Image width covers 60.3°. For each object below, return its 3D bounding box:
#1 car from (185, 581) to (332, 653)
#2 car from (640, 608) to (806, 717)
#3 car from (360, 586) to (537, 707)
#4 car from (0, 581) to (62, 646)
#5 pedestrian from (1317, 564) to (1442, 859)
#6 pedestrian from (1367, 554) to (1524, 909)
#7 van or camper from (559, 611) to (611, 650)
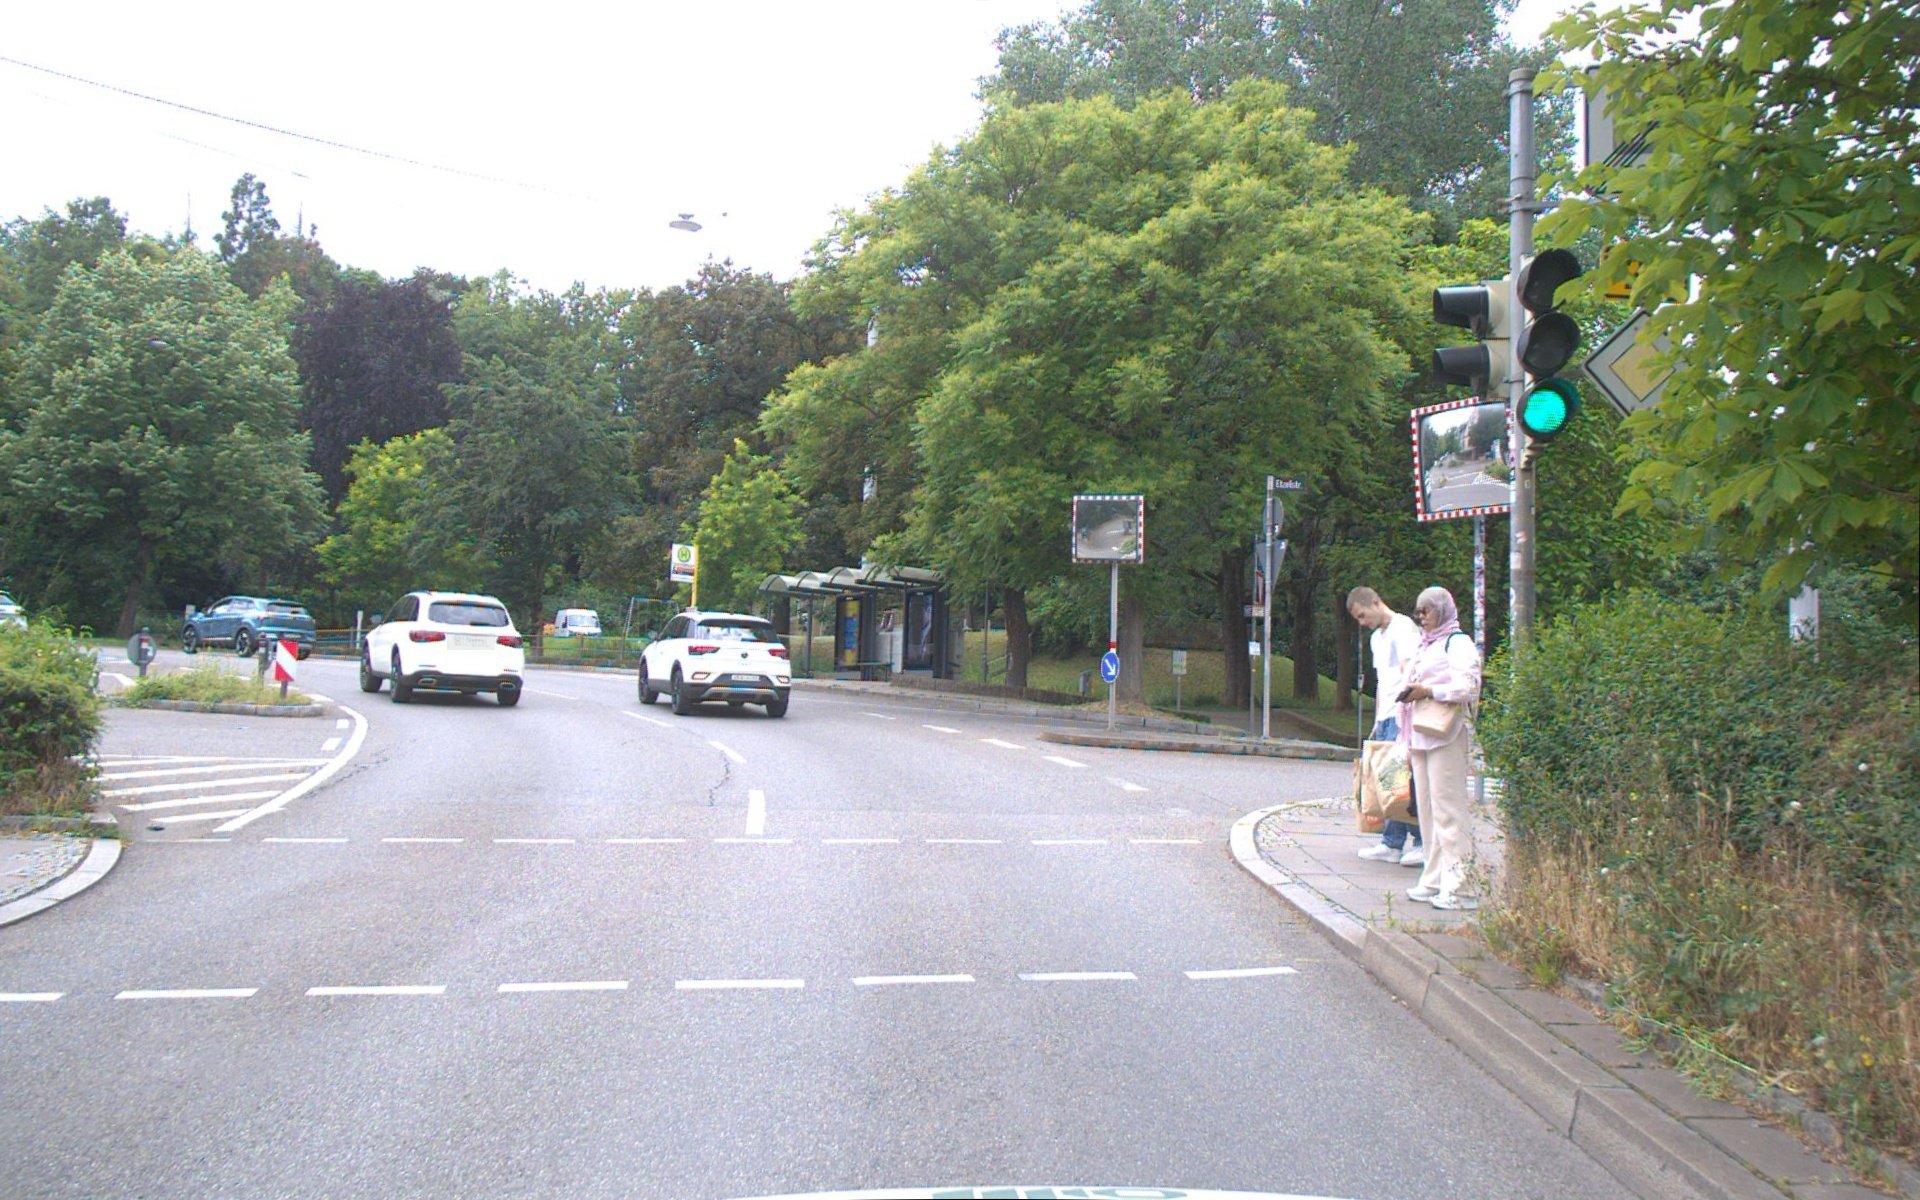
[{"bbox_3d":[-18.556,0.434,43.703,3.884,1.660,1.858,2,-2,39],"label":"car"},{"bbox_3d":[-3.876,0.951,26.552,1.837,1.583,3.871,3,-1,-20],"label":"car"},{"bbox_3d":[-8.074,0.702,25.878,1.855,1.681,4.302,3,-2,-27],"label":"car"},{"bbox_3d":[-26.256,0.255,44.016,4.217,1.545,2.249,2,-5,32],"label":"car"},{"bbox_3d":[2.568,0.666,10.179,0.602,1.742,0.727,0,-1,3],"label":"pedestrian"},{"bbox_3d":[2.473,0.651,8.489,0.602,1.742,0.727,0,-1,3],"label":"pedestrian"},{"bbox_3d":[-22.111,1.780,97.345,2.269,2.049,5.410,4,-2,-19],"label":"van or camper"}]
